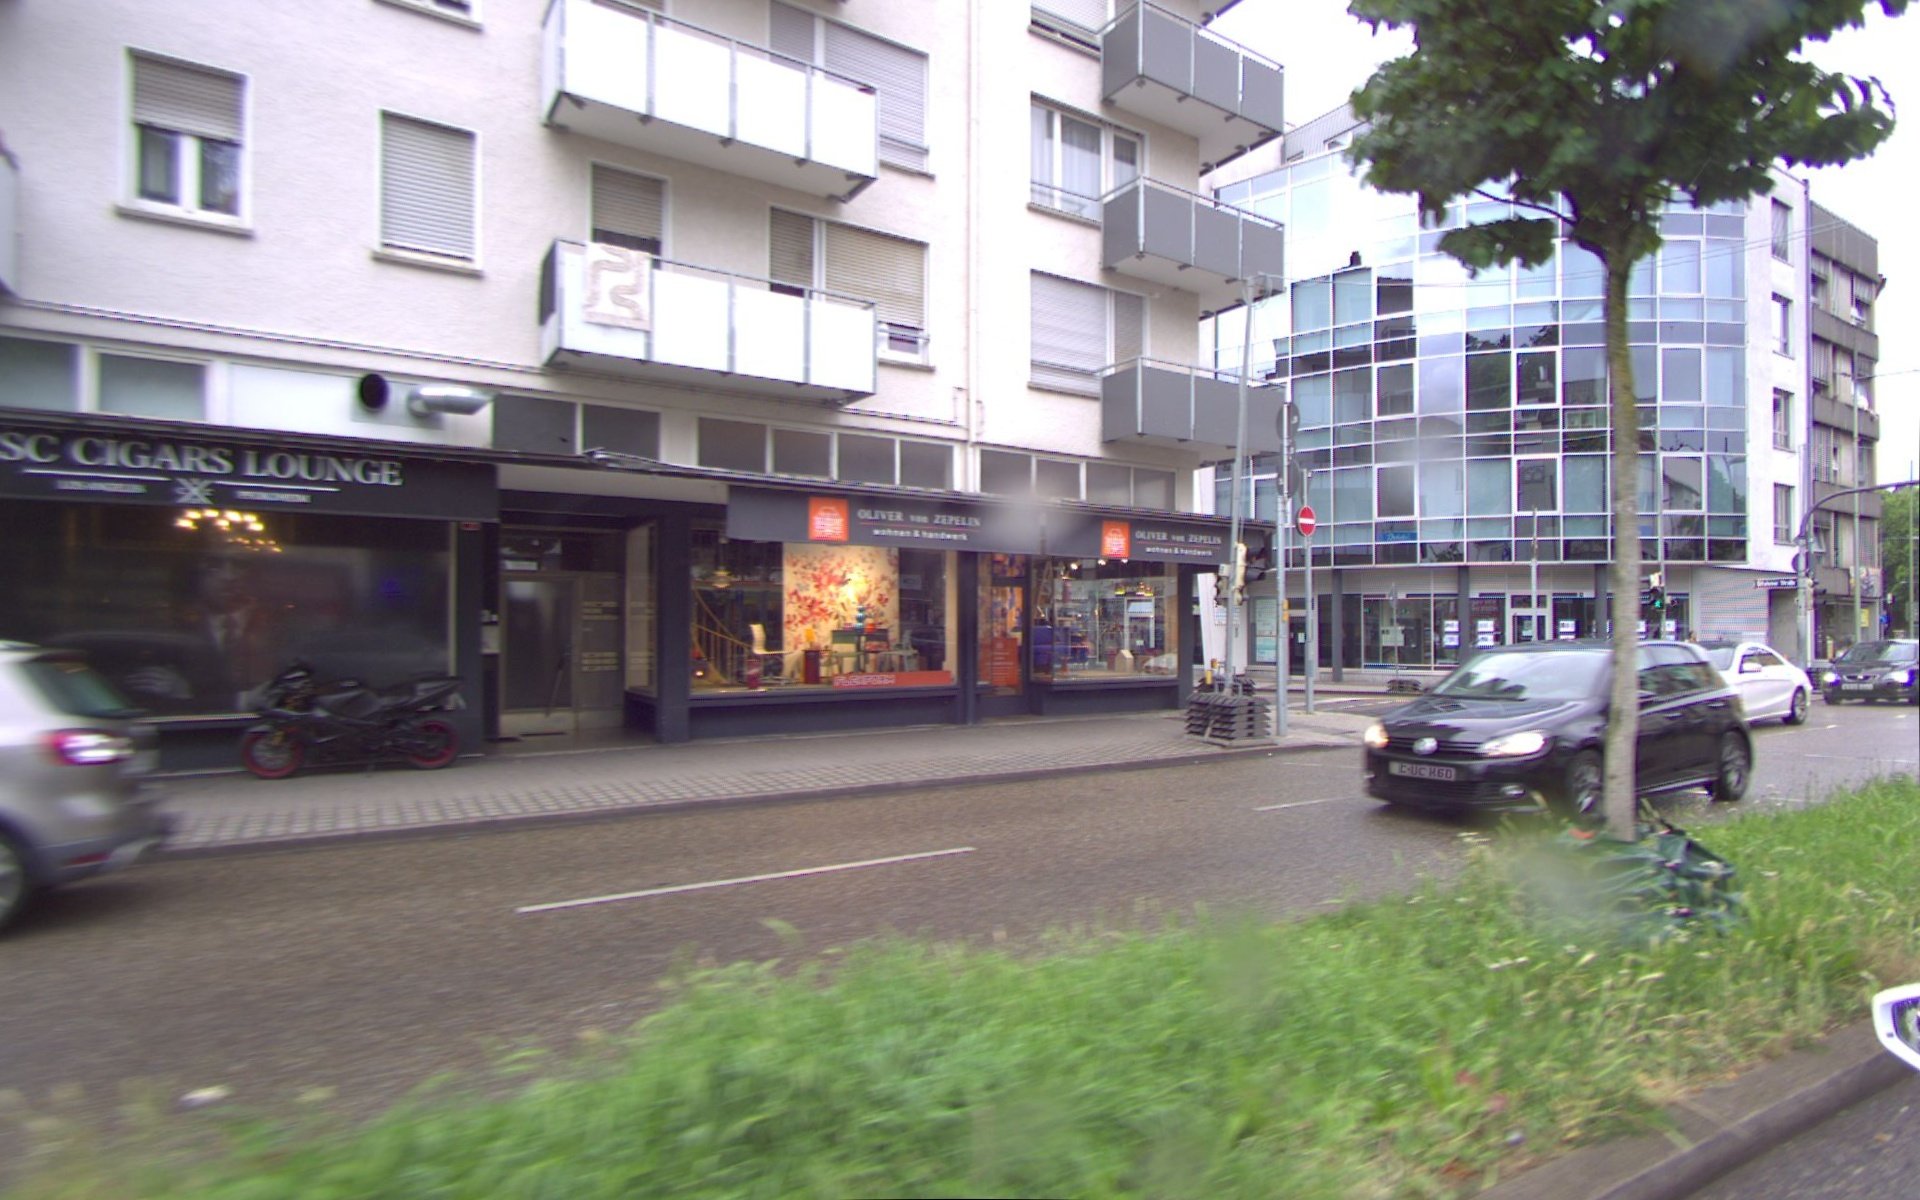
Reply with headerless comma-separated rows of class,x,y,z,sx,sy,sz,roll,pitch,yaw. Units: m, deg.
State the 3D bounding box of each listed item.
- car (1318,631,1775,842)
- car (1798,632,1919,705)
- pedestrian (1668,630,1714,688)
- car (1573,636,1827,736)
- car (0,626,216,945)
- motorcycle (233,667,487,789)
car,5.297,1.046,8.959,4.112,1.460,1.808,1,-4,-33
car,20.978,1.502,22.807,3.955,1.517,1.837,1,-3,-32
pedestrian,20.852,1.685,28.645,0.816,1.629,0.625,0,-2,-5
car,12.497,1.382,16.903,4.563,1.436,1.836,1,-4,-32
car,-6.415,0.982,5.179,3.982,1.609,1.763,1,-4,-33
motorcycle,-6.143,1.273,10.399,2.172,1.102,0.664,2,0,-33
